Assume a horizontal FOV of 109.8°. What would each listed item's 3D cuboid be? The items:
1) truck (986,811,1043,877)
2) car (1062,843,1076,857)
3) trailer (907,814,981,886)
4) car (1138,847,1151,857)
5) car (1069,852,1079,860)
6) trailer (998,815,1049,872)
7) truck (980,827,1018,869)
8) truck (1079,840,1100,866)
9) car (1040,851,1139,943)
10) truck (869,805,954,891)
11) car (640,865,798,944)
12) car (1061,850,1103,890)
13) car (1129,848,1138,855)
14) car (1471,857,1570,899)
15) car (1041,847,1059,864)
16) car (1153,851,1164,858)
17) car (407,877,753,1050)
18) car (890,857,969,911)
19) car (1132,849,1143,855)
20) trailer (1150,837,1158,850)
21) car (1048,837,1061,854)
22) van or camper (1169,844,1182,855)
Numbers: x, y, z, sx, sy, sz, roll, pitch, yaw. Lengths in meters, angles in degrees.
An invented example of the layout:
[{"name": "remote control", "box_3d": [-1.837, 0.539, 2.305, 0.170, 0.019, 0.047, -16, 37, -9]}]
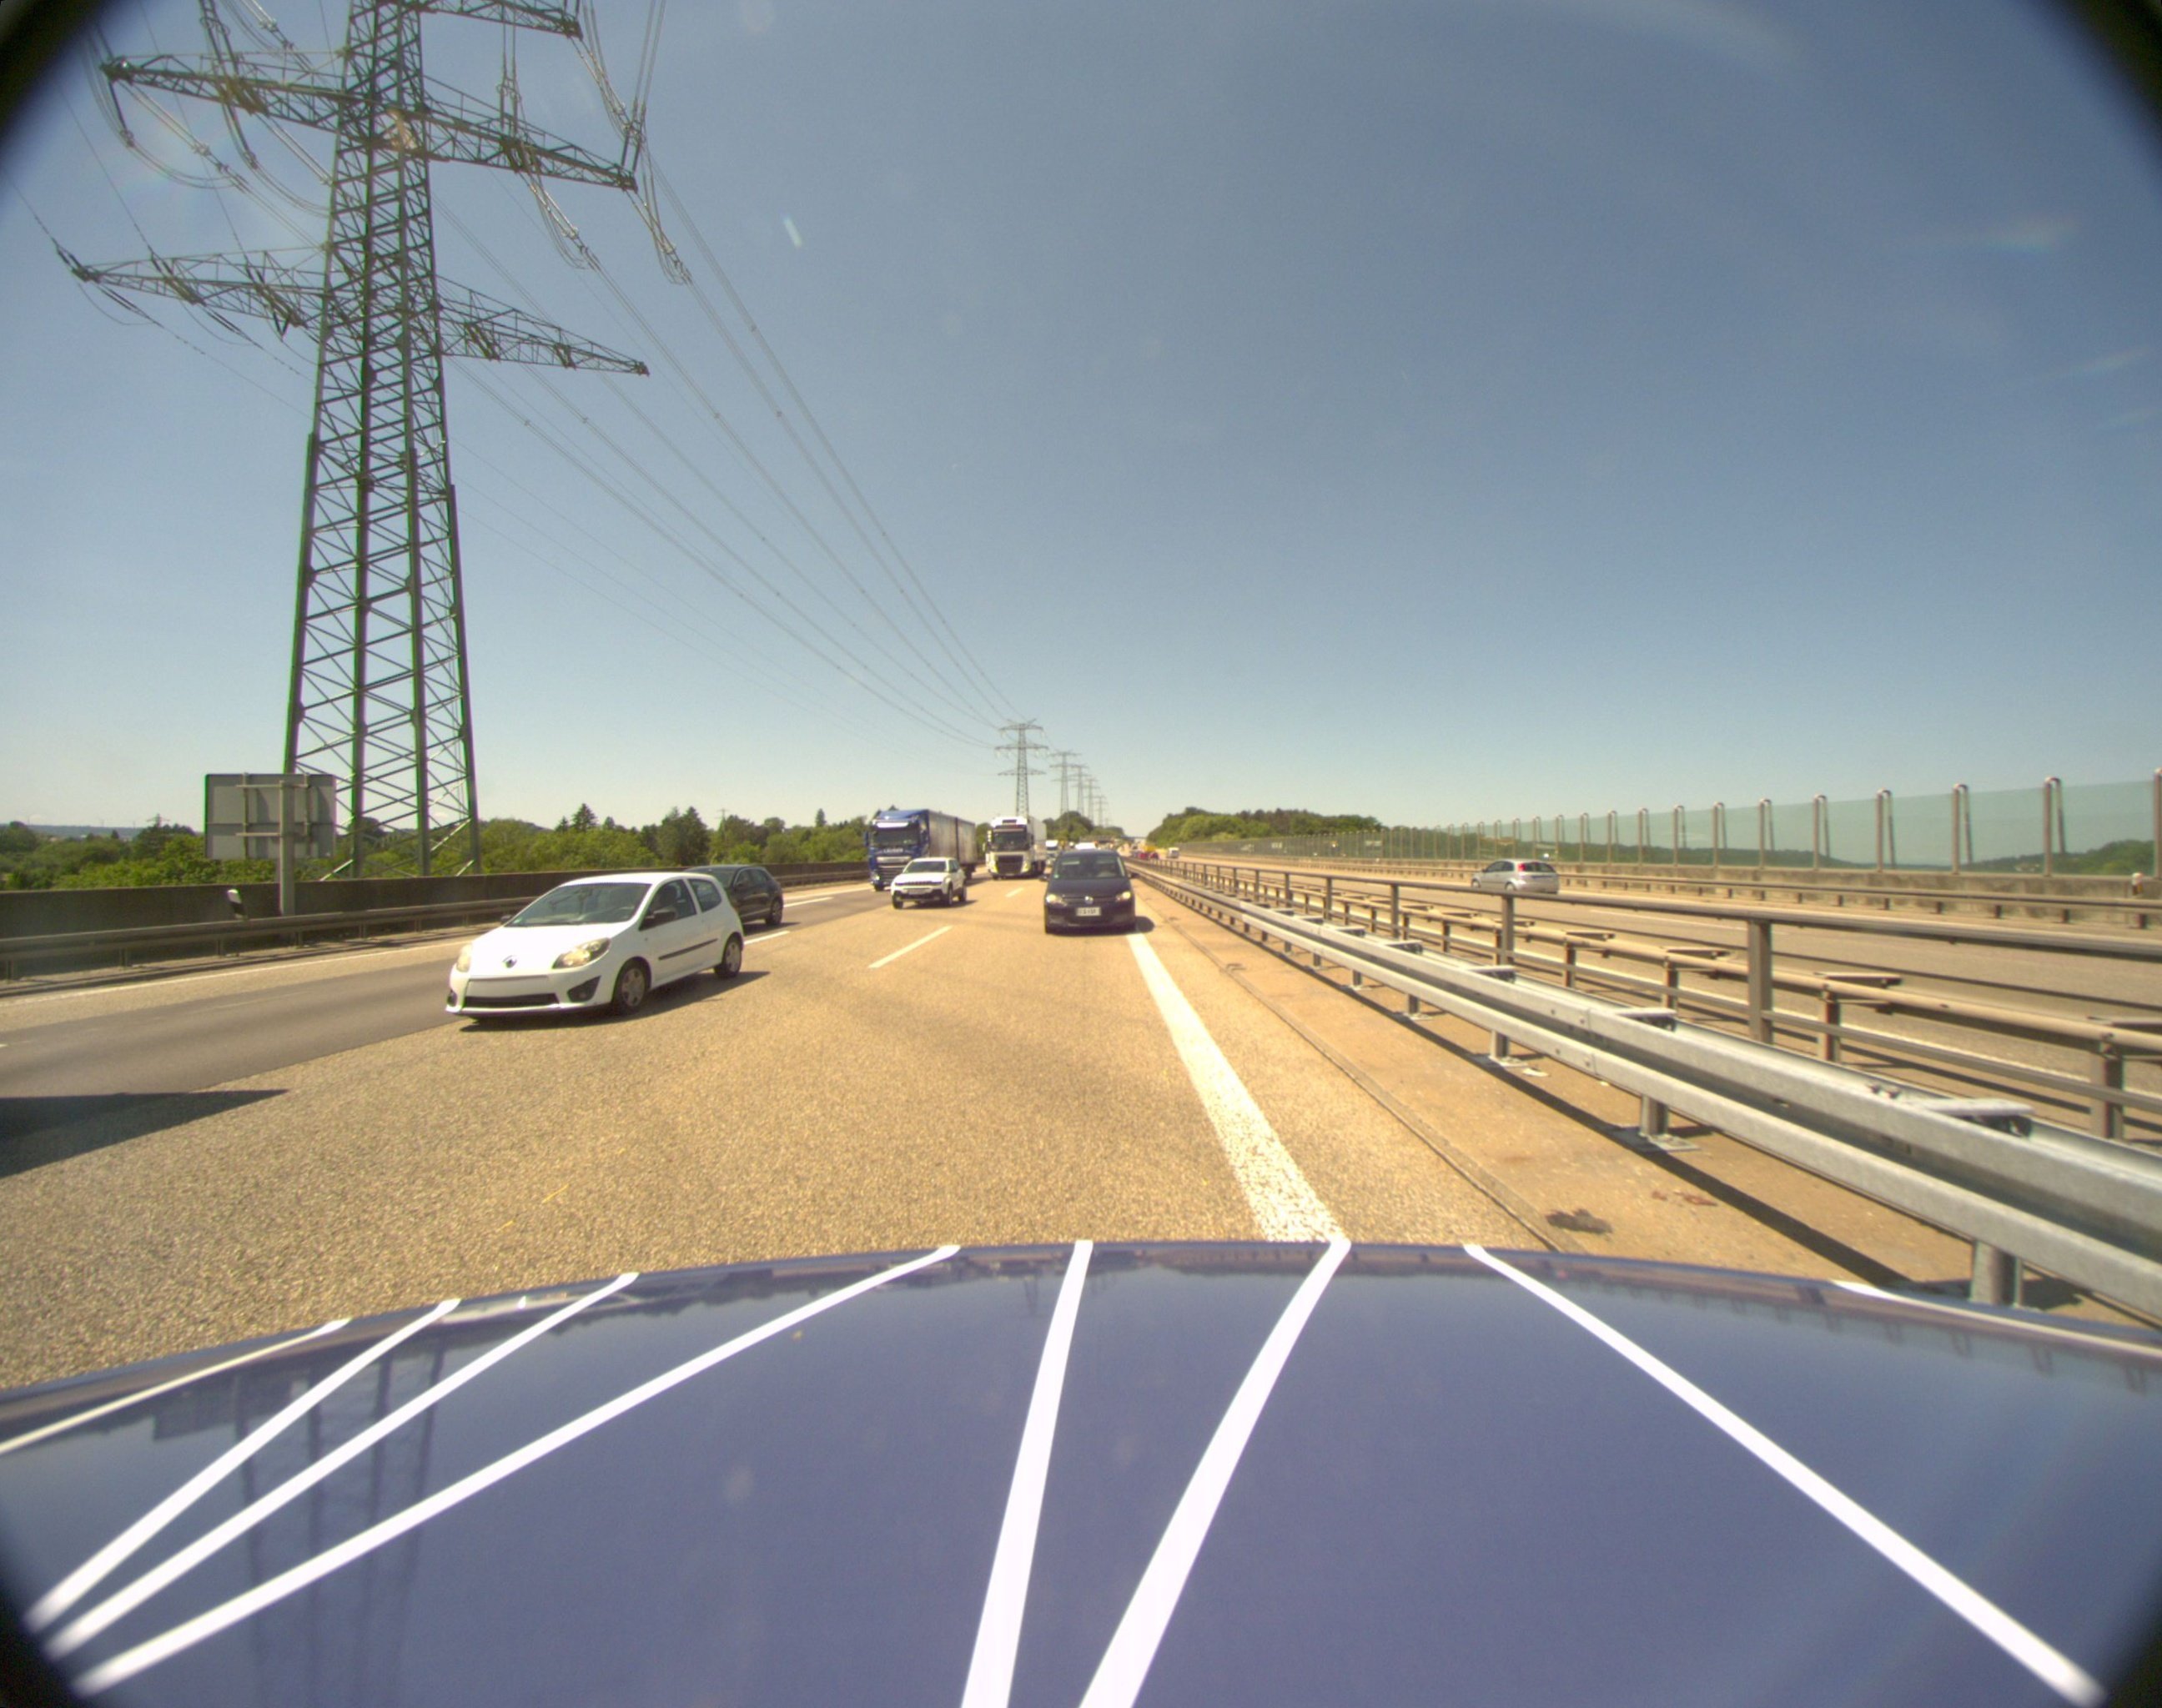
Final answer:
[{"name": "truck", "box_3d": [-4.211, -0.642, 49.467, 2.914, 3.870, 6.739, -2, 1, 0]}, {"name": "car", "box_3d": [-1.883, -0.648, 117.884, 1.998, 2.002, 3.999, -2, 1, 1]}, {"name": "trailer", "box_3d": [-8.489, -0.314, 48.712, 2.543, 3.971, 10.883, -2, 1, 0]}, {"name": "car", "box_3d": [10.447, -0.299, 125.072, 1.846, 1.438, 4.418, -2, 1, 1]}, {"name": "car", "box_3d": [-1.364, 0.410, 151.420, 1.701, 1.599, 3.639, -2, 1, 1]}, {"name": "trailer", "box_3d": [-4.174, -0.778, 57.745, 2.898, 3.847, 9.773, -2, 1, 0]}, {"name": "truck", "box_3d": [-8.147, -0.600, 76.186, 2.914, 3.870, 6.739, -2, 1, 0]}, {"name": "truck", "box_3d": [0.990, -0.135, 83.827, 2.100, 2.700, 5.864, -2, 1, 1]}, {"name": "car", "box_3d": [0.160, 0.771, 15.769, 1.739, 1.607, 3.911, -2, 0, 0]}, {"name": "truck", "box_3d": [-8.552, -0.299, 39.315, 2.517, 3.945, 7.926, -2, 0, 0]}, {"name": "car", "box_3d": [-8.206, 1.081, 17.638, 1.709, 1.497, 3.888, -2, 0, 1]}, {"name": "car", "box_3d": [0.046, 0.652, 33.340, 1.685, 1.607, 3.642, -2, 0, 0]}, {"name": "car", "box_3d": [12.534, -0.580, 180.687, 1.845, 1.520, 3.558, 0, 0, 1]}, {"name": "car", "box_3d": [16.572, 0.855, 28.863, 1.608, 1.386, 3.676, 1, 1, 1]}, {"name": "car", "box_3d": [-3.444, 0.142, 85.110, 1.672, 1.761, 3.846, -2, 1, 1]}, {"name": "car", "box_3d": [16.180, 0.136, 158.733, 1.805, 1.378, 4.262, 0, 1, 1]}, {"name": "car", "box_3d": [-5.455, 1.076, 8.899, 1.584, 1.432, 3.629, -2, 0, 0]}, {"name": "car", "box_3d": [-4.784, 0.905, 24.501, 1.722, 1.526, 3.753, -2, 0, 0]}, {"name": "car", "box_3d": [11.713, -0.445, 157.094, 1.901, 1.307, 4.371, 0, 0, 1]}, {"name": "trailer", "box_3d": [23.421, -3.353, 244.850, 2.428, 4.040, 13.806, 0, 0, 5]}, {"name": "car", "box_3d": [-5.458, -1.705, 156.439, 2.273, 3.304, 6.288, -2, 1, 0]}, {"name": "van or camper", "box_3d": [19.982, -0.929, 160.036, 1.998, 2.199, 5.536, 1, 1, 0]}]
